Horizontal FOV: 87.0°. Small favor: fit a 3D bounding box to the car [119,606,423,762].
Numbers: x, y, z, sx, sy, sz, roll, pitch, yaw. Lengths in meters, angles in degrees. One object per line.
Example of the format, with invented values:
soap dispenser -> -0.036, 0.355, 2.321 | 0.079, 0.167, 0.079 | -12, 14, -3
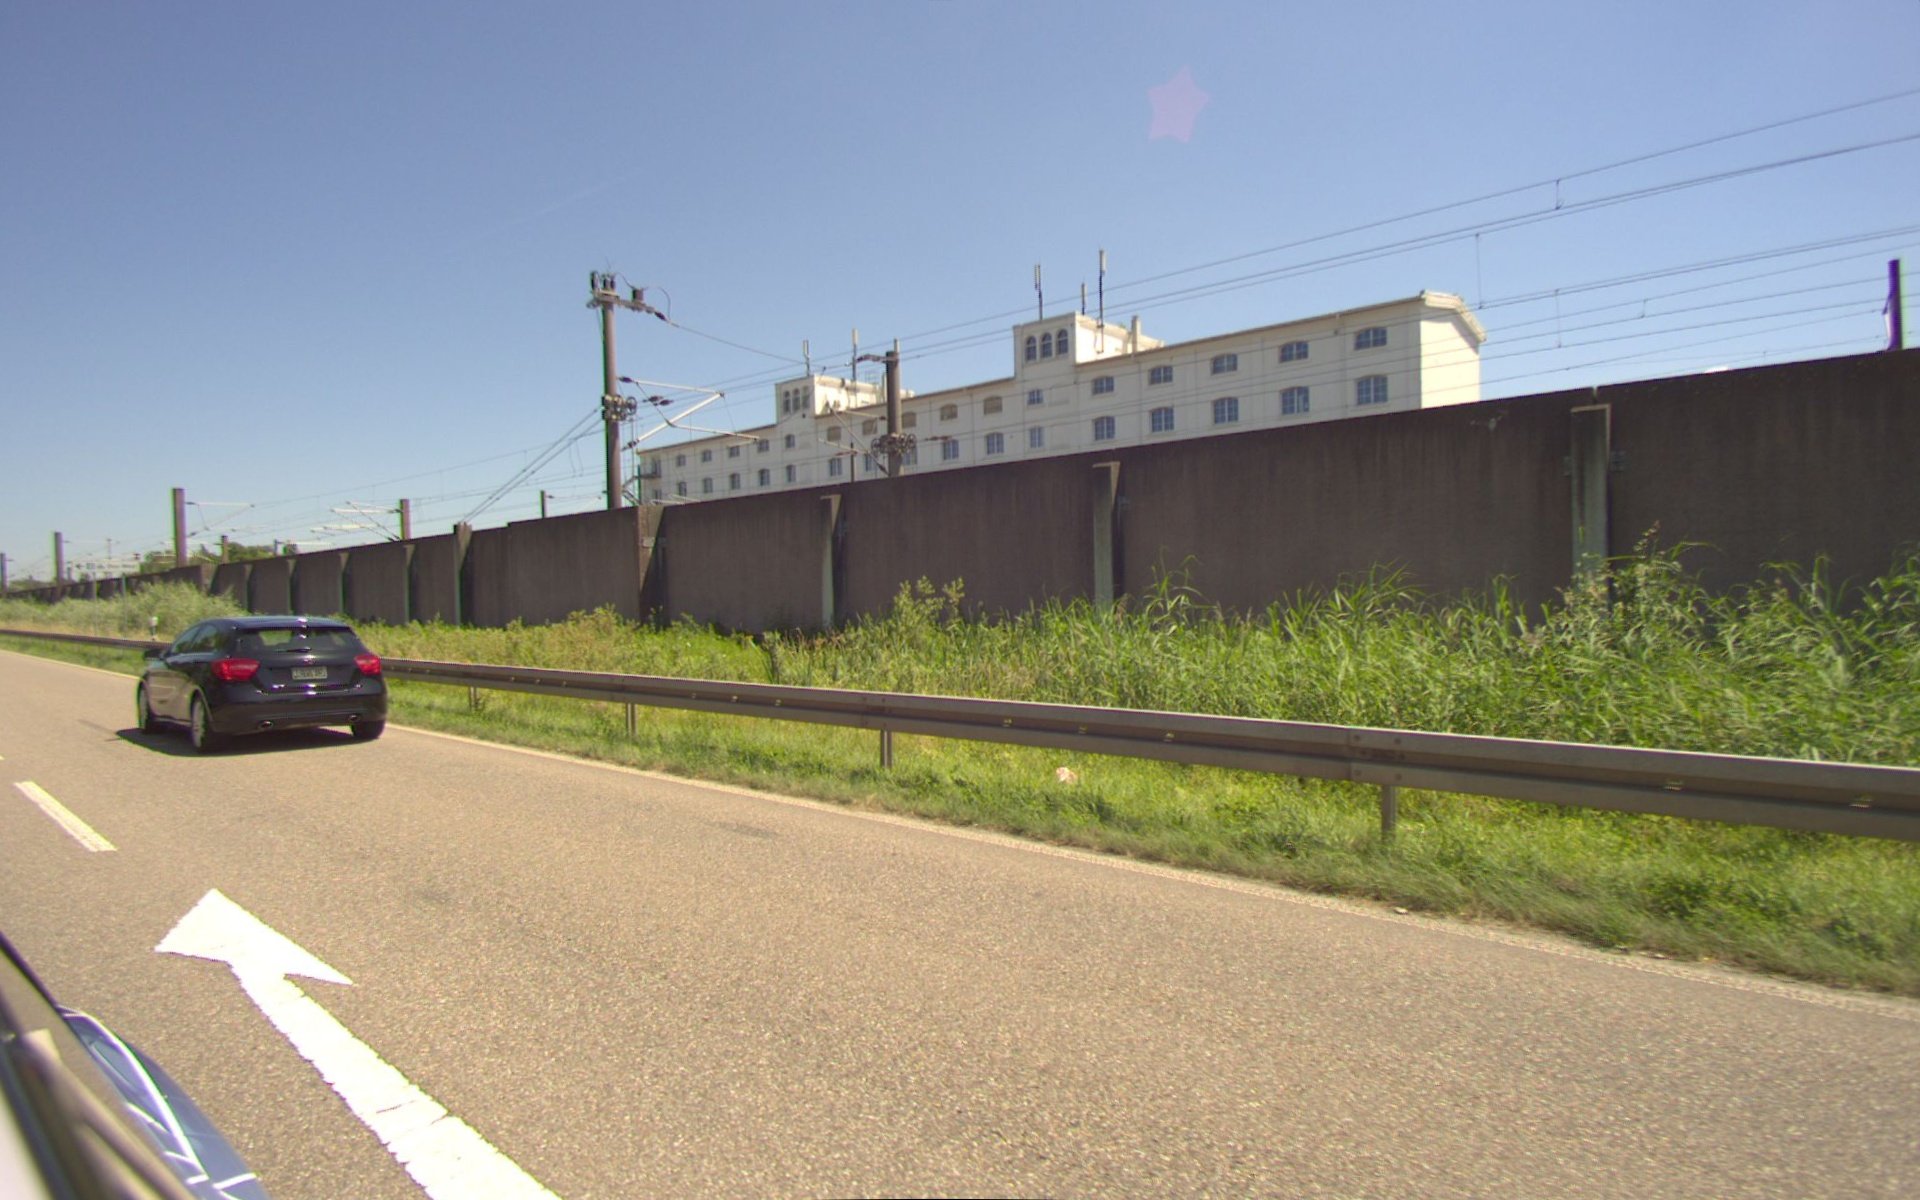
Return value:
car -> -8.252, 0.859, 12.006 | 3.996, 1.519, 1.973 | -1, -1, 40
